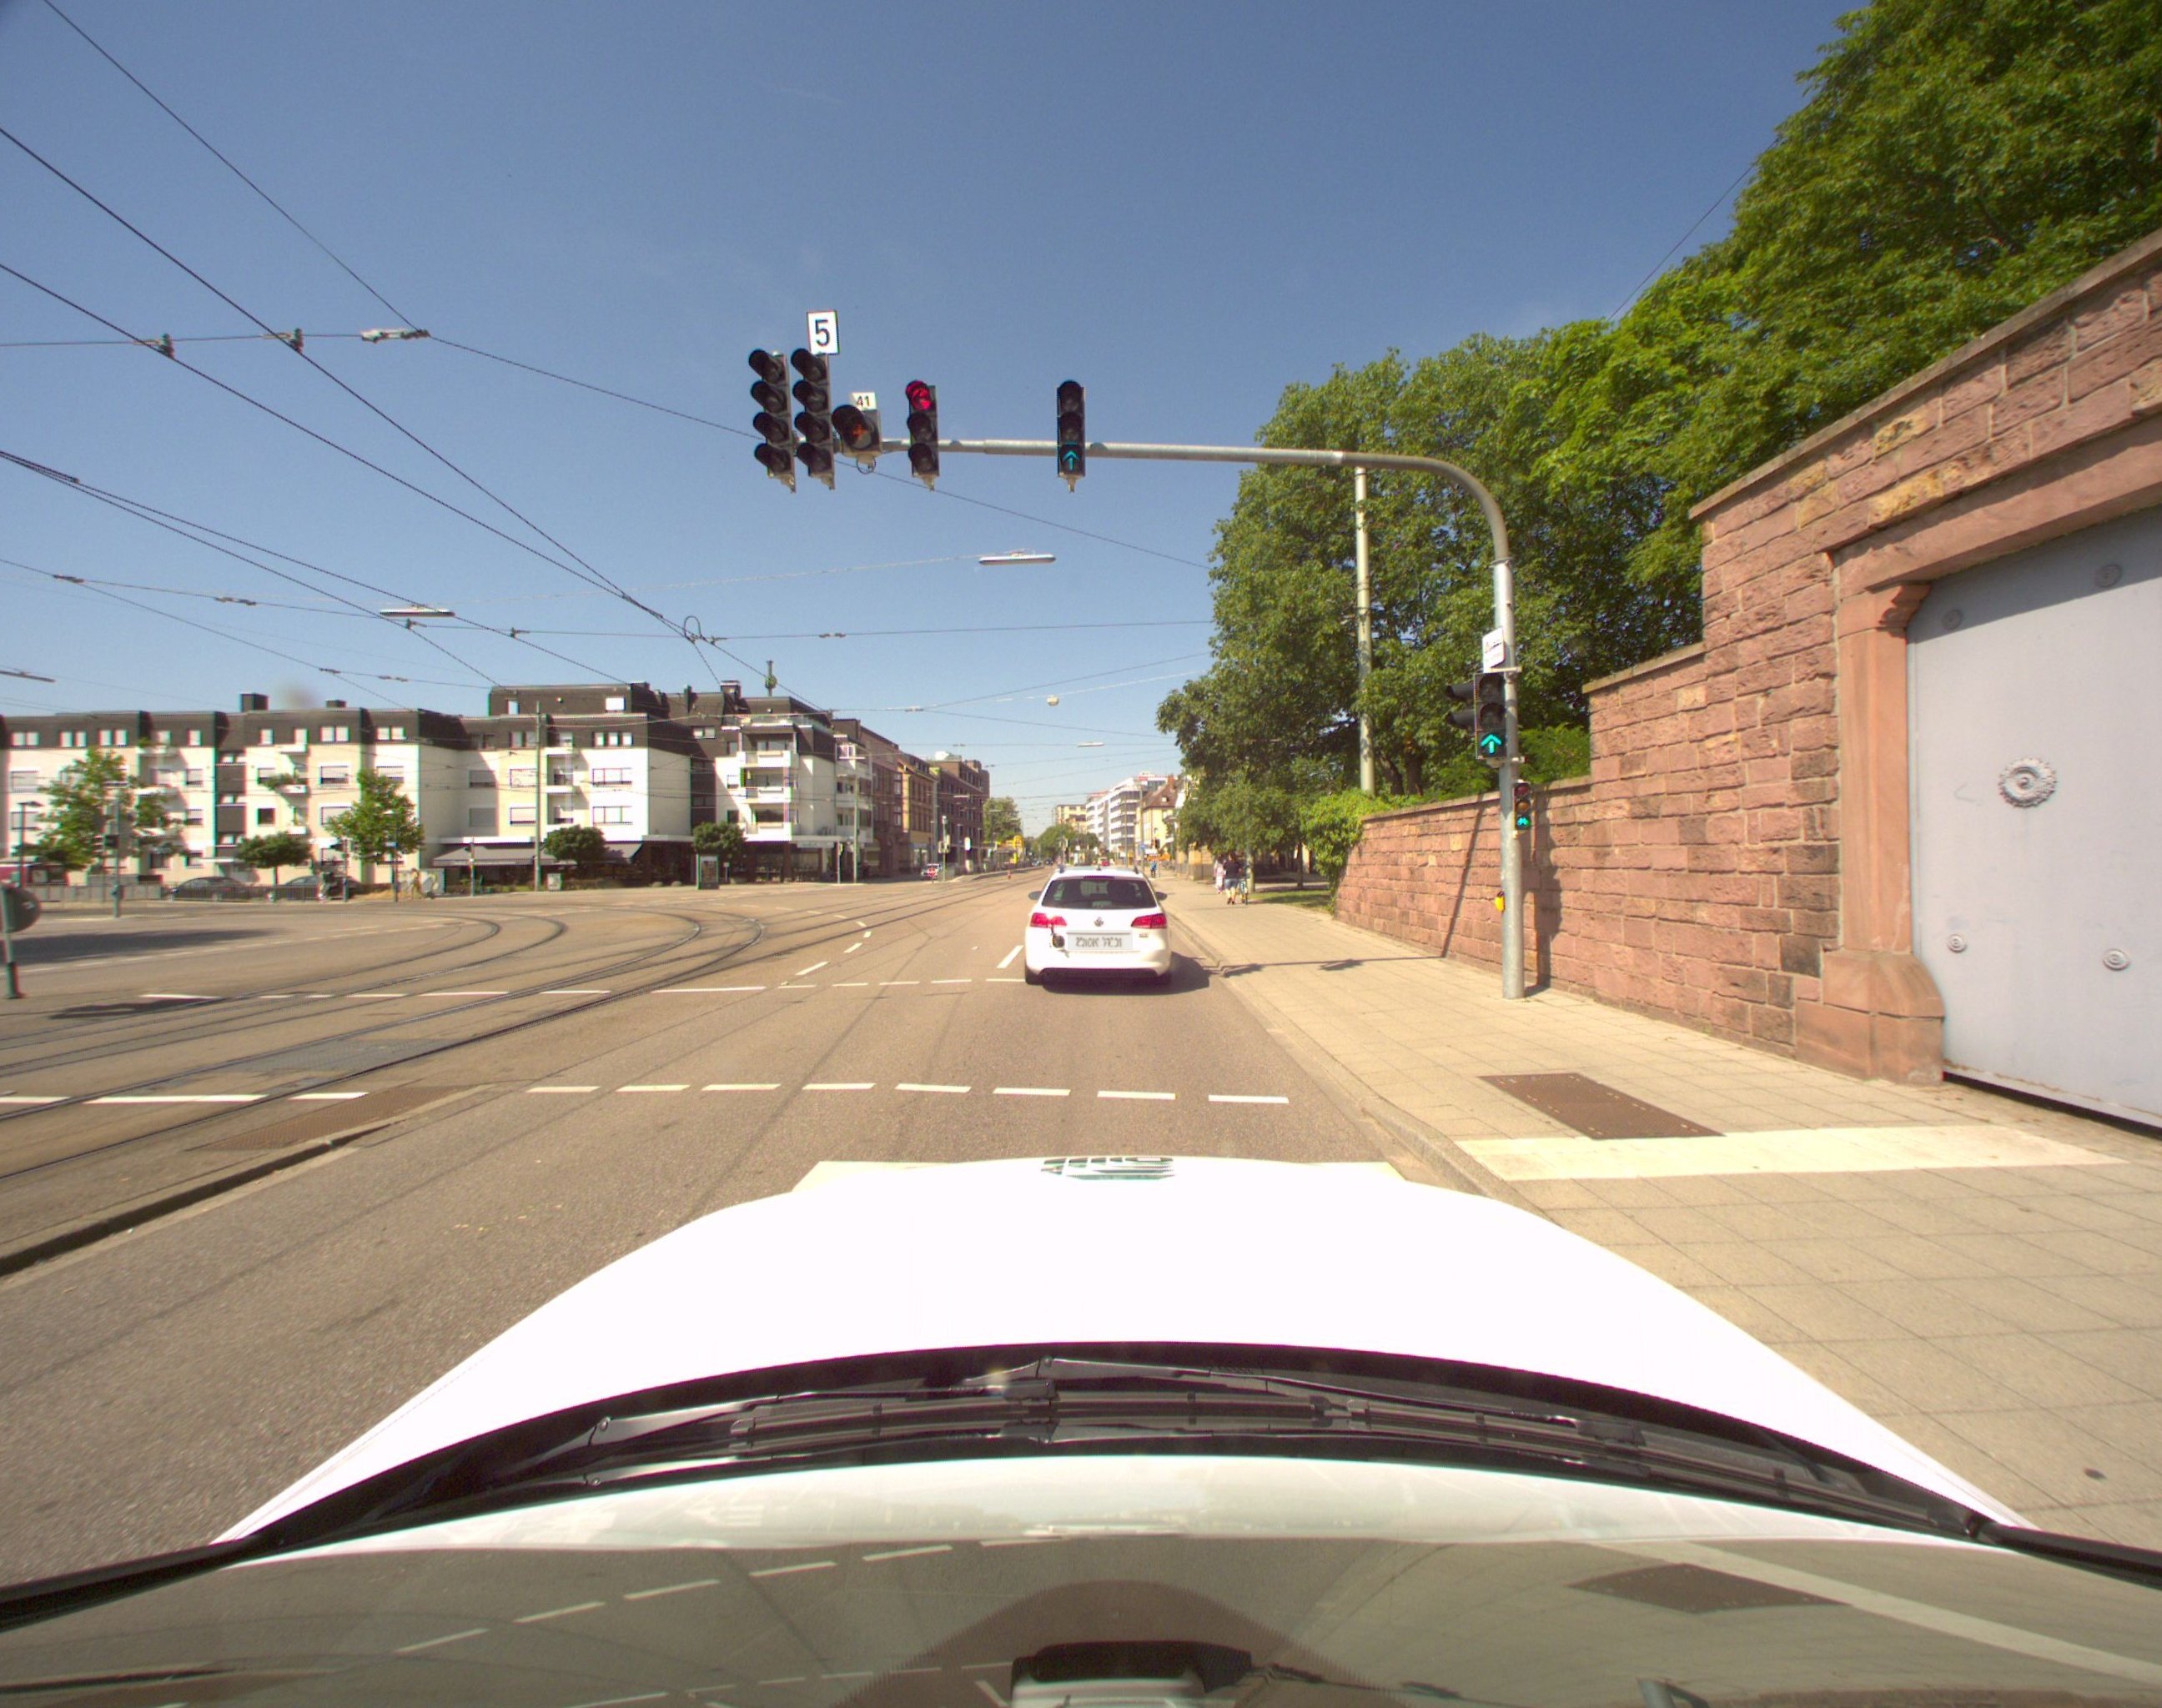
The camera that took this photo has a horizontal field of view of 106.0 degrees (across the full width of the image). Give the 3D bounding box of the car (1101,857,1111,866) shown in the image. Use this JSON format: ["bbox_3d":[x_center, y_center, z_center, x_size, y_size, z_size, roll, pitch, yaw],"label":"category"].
[{"bbox_3d":[5.707,1.789,185.976,1.989,2.014,3.996,-1,0,-3],"label":"car"}]

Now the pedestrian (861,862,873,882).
[{"bbox_3d":[-18.580,1.555,70.697,0.870,1.647,0.685,-2,-1,42],"label":"pedestrian"}]

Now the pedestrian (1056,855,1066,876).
[{"bbox_3d":[-1.762,1.026,73.121,0.823,1.809,0.834,-1,-1,2],"label":"pedestrian"}]

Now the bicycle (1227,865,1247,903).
[{"bbox_3d":[4.740,0.891,24.711,0.532,1.111,1.812,-2,-1,11],"label":"bicycle"}]

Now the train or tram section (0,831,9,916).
[{"bbox_3d":[-53.660,0.987,34.177,13.813,3.658,2.769,-1,-1,1],"label":"train or tram section"}]

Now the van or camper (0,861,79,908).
[{"bbox_3d":[-62.626,1.805,47.737,4.858,2.624,2.376,-1,-1,0],"label":"van or camper"}]

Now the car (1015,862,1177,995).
[{"bbox_3d":[0.234,0.837,10.851,1.746,1.418,3.855,-1,0,2],"label":"car"}]

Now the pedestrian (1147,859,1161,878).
[{"bbox_3d":[5.904,1.194,65.864,0.848,1.510,0.786,-1,-1,25],"label":"pedestrian"}]

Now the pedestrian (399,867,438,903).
[{"bbox_3d":[-35.592,1.642,43.766,1.108,1.836,1.448,-2,-1,41],"label":"pedestrian"}]

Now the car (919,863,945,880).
[{"bbox_3d":[-13.526,1.575,74.309,1.620,1.431,3.962,0,-1,0],"label":"car"}]

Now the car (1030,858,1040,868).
[{"bbox_3d":[-9.865,2.030,175.001,1.988,2.014,3.997,-2,-1,-1],"label":"car"}]

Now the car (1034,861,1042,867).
[{"bbox_3d":[-11.444,2.678,216.962,1.661,1.466,3.774,-1,0,2],"label":"car"}]

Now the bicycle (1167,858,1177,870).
[{"bbox_3d":[9.316,0.995,83.312,0.720,1.139,2.203,-1,0,14],"label":"bicycle"}]

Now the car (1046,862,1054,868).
[{"bbox_3d":[-8.092,2.795,212.657,1.661,1.466,3.774,-1,0,2],"label":"car"}]

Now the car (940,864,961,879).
[{"bbox_3d":[-13.147,1.777,82.132,1.568,1.459,3.811,-1,0,-2],"label":"car"}]

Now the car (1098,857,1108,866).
[{"bbox_3d":[5.136,1.854,191.405,1.989,2.014,3.996,-1,0,-3],"label":"car"}]

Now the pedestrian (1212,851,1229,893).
[{"bbox_3d":[5.722,0.743,33.456,0.646,1.682,0.709,-1,-1,9],"label":"pedestrian"}]

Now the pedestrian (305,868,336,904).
[{"bbox_3d":[-38.002,1.575,40.688,0.809,1.760,0.761,-1,-1,-10],"label":"pedestrian"}]

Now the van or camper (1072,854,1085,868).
[{"bbox_3d":[-0.649,1.546,191.567,2.934,3.180,6.612,-1,0,0],"label":"van or camper"}]

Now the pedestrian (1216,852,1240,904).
[{"bbox_3d":[4.498,0.723,24.940,0.538,1.549,0.663,-3,-1,1],"label":"pedestrian"}]

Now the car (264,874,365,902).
[{"bbox_3d":[-44.893,1.983,47.730,4.158,1.500,1.828,-1,-1,1],"label":"car"}]

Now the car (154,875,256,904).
[{"bbox_3d":[-51.161,2.062,47.606,3.973,1.500,1.828,-1,0,1],"label":"car"}]
